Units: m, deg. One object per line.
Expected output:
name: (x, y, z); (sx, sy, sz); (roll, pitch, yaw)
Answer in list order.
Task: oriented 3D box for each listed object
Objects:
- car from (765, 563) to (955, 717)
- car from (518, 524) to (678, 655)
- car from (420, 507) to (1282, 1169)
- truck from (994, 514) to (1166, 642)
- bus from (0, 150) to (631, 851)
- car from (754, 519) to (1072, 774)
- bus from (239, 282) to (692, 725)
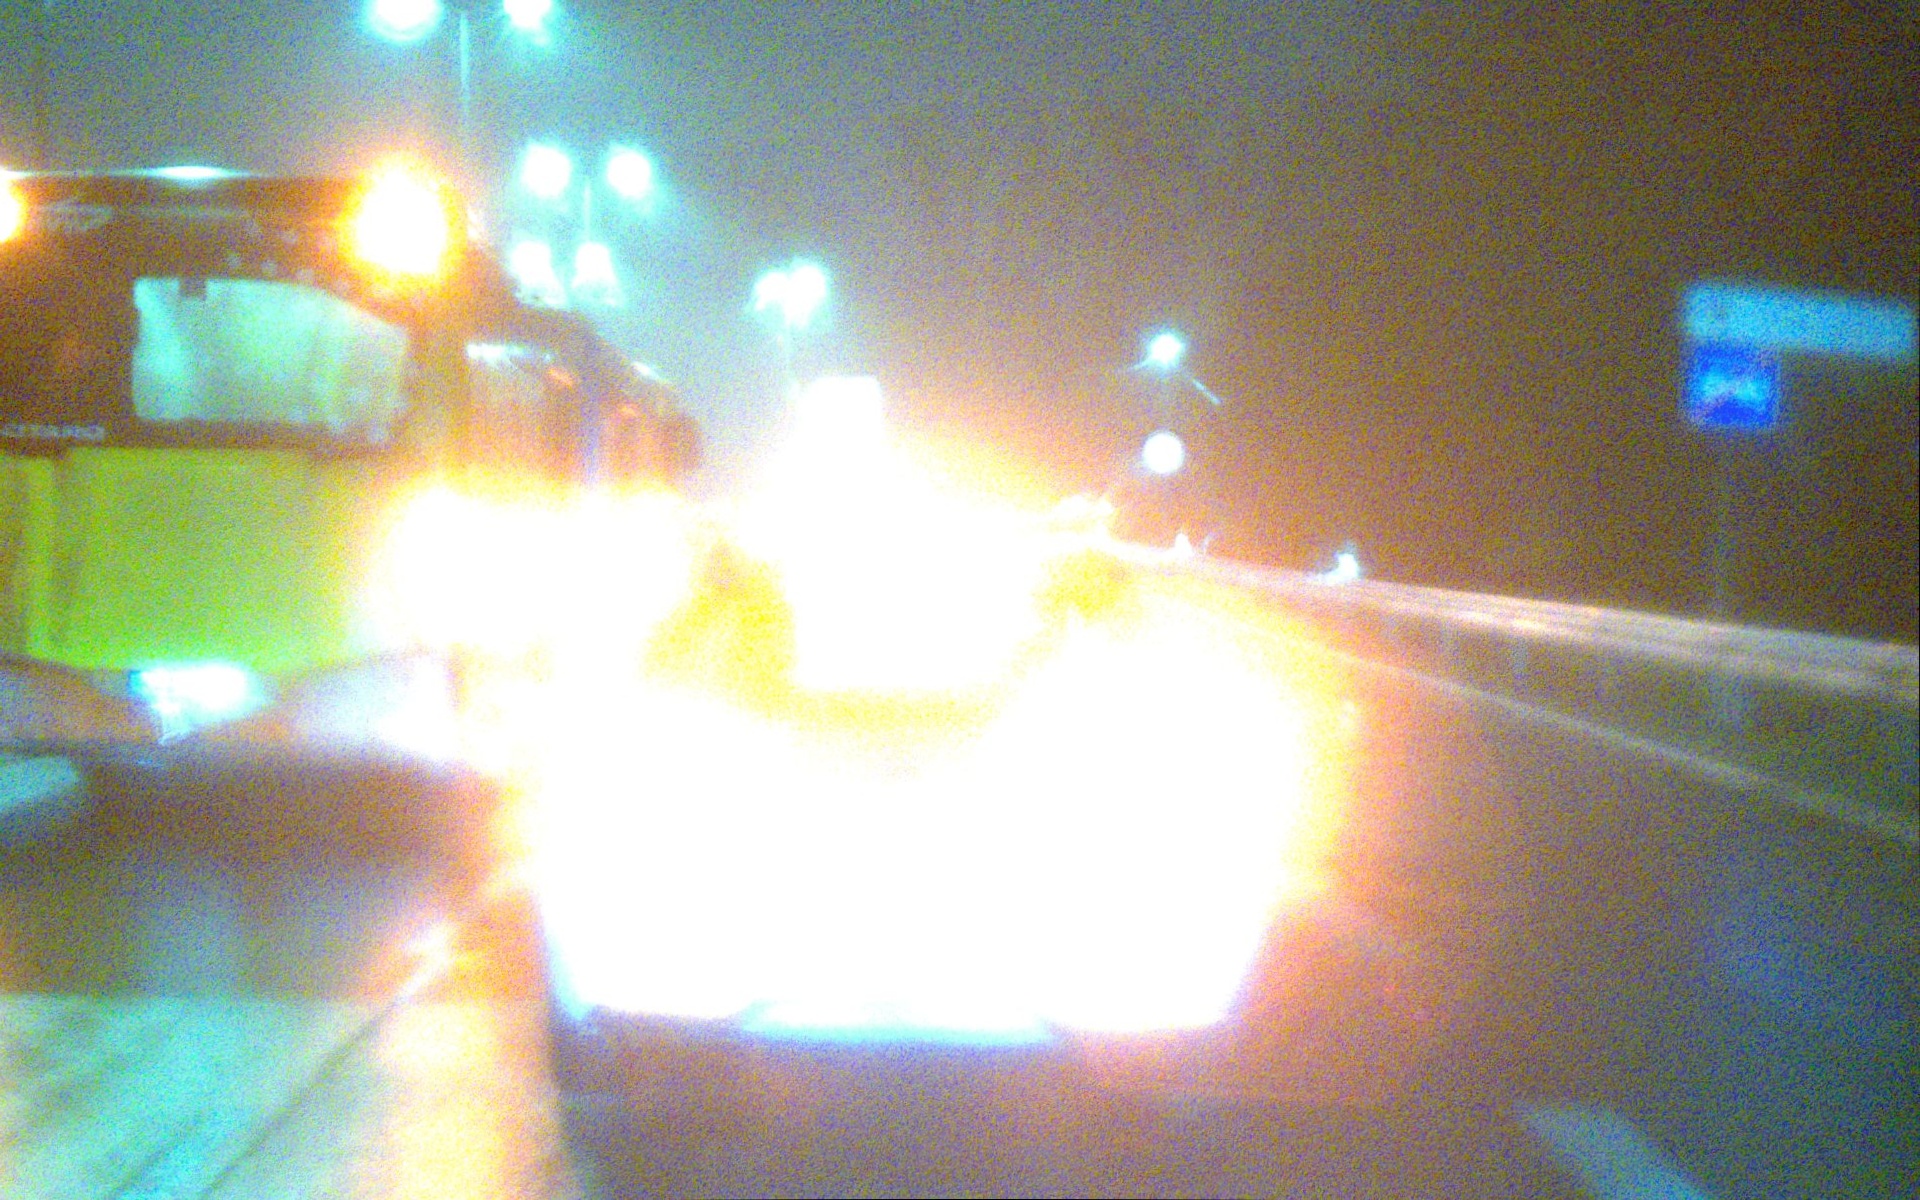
car: (-0.991, 0.365, 35.137); (1.822, 1.456, 3.716); (1, 1, -1)
car: (-4.379, -0.132, 42.032); (1.557, 1.481, 3.809); (2, 0, -1)
car: (-0.263, 0.512, 9.667); (1.944, 1.486, 3.716); (1, 1, 0)
truck: (2.666, -0.447, 73.990); (3.070, 2.520, 7.164); (2, 0, 6)
bus: (-3.665, -0.584, 20.209); (2.743, 3.112, 9.202); (2, 2, -2)
car: (-0.297, 0.239, 21.717); (1.822, 1.456, 3.716); (1, 1, -1)
bus: (-3.915, -0.817, 29.208); (2.743, 3.112, 8.705); (2, 2, -2)
